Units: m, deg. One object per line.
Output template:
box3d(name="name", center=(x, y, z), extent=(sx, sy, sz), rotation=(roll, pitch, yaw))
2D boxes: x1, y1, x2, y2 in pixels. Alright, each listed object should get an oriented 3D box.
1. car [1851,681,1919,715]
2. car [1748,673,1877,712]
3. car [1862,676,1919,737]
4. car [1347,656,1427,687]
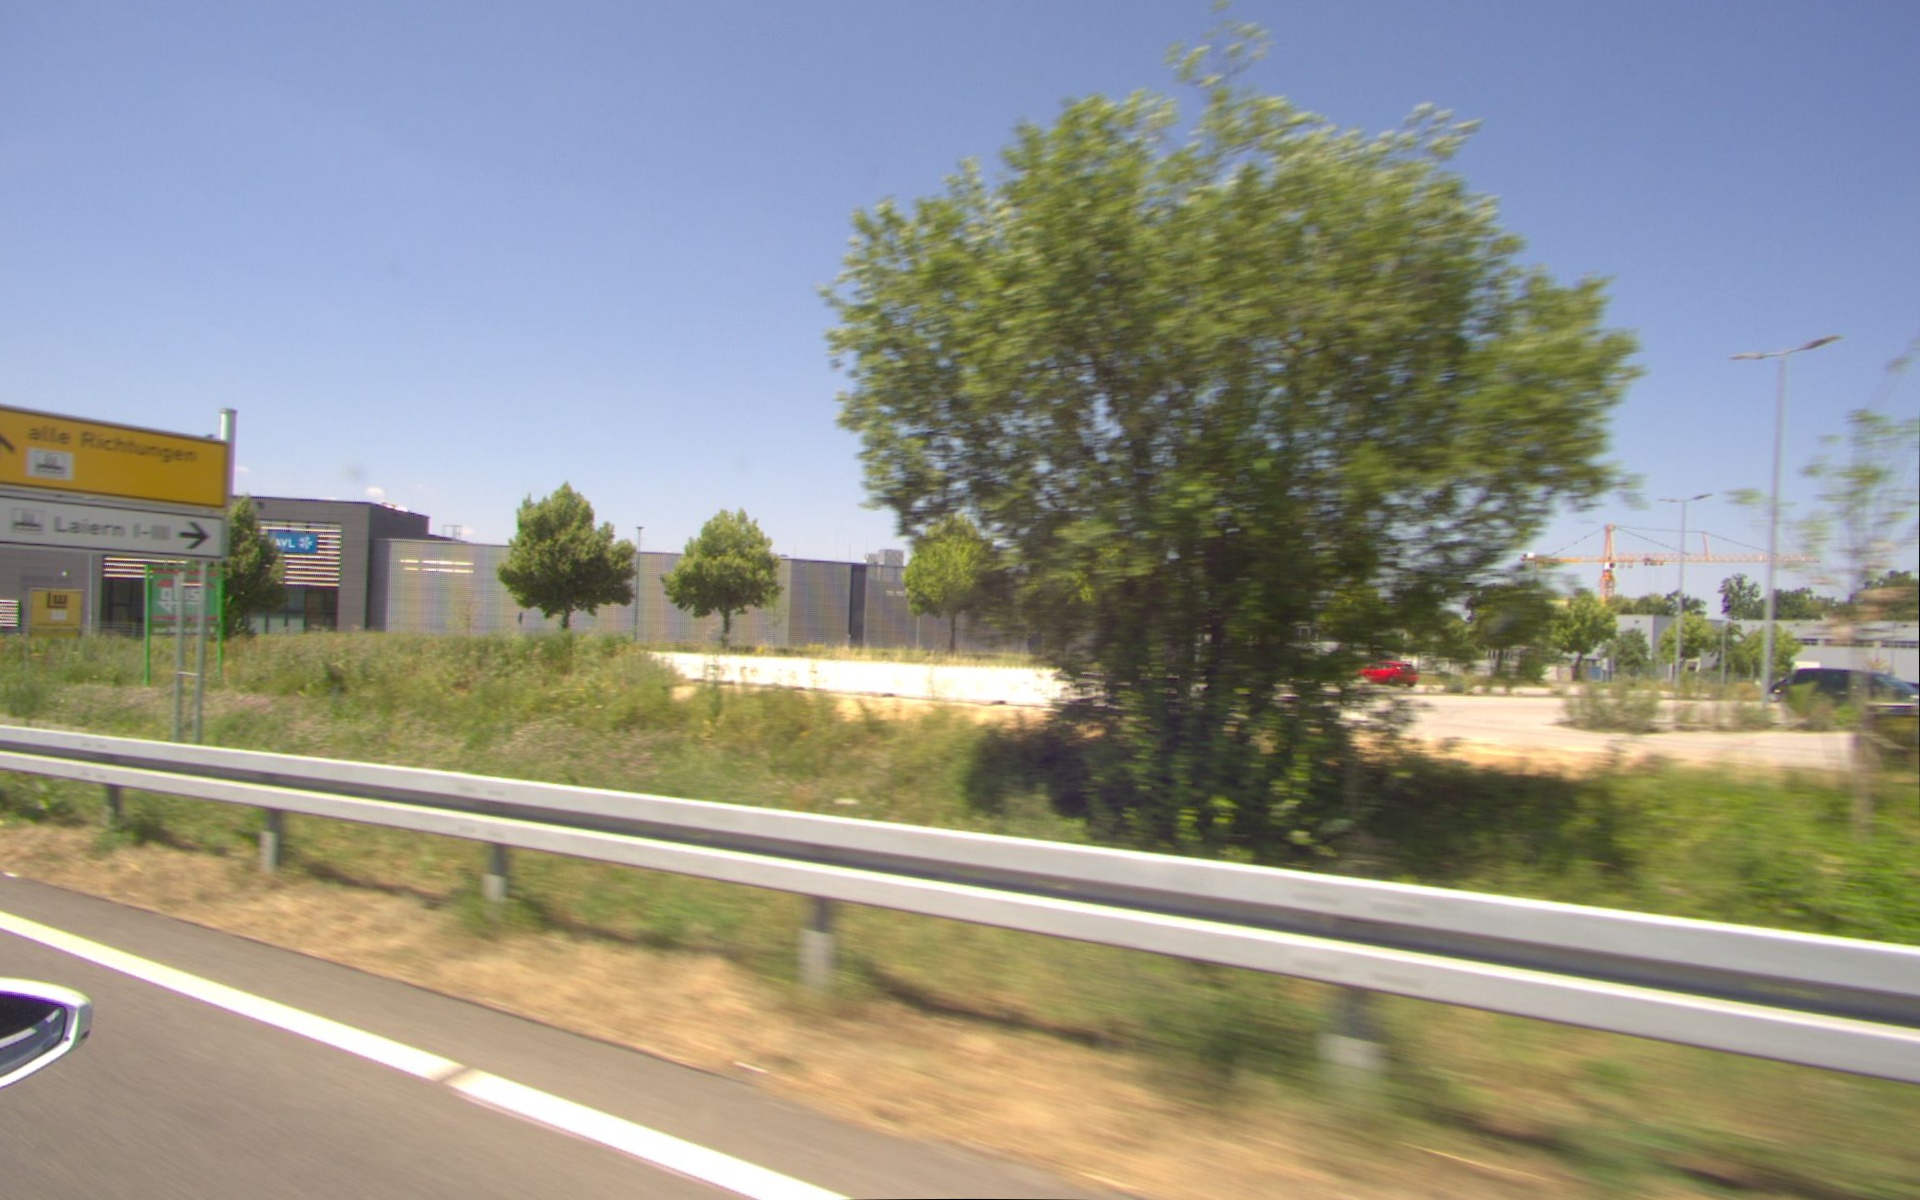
box3d(name="car", center=(52.422, 5.399, 55.221), extent=(2.064, 1.706, 4.537), rotation=(1, -3, -14))
box3d(name="car", center=(42.127, 4.560, 49.648), extent=(2.064, 1.706, 4.537), rotation=(1, -3, -14))
box3d(name="car", center=(26.782, 2.861, 26.031), extent=(1.966, 1.527, 4.603), rotation=(1, -1, -19))
box3d(name="car", center=(25.996, 4.326, 61.140), extent=(2.066, 1.706, 4.533), rotation=(2, -3, -18))
